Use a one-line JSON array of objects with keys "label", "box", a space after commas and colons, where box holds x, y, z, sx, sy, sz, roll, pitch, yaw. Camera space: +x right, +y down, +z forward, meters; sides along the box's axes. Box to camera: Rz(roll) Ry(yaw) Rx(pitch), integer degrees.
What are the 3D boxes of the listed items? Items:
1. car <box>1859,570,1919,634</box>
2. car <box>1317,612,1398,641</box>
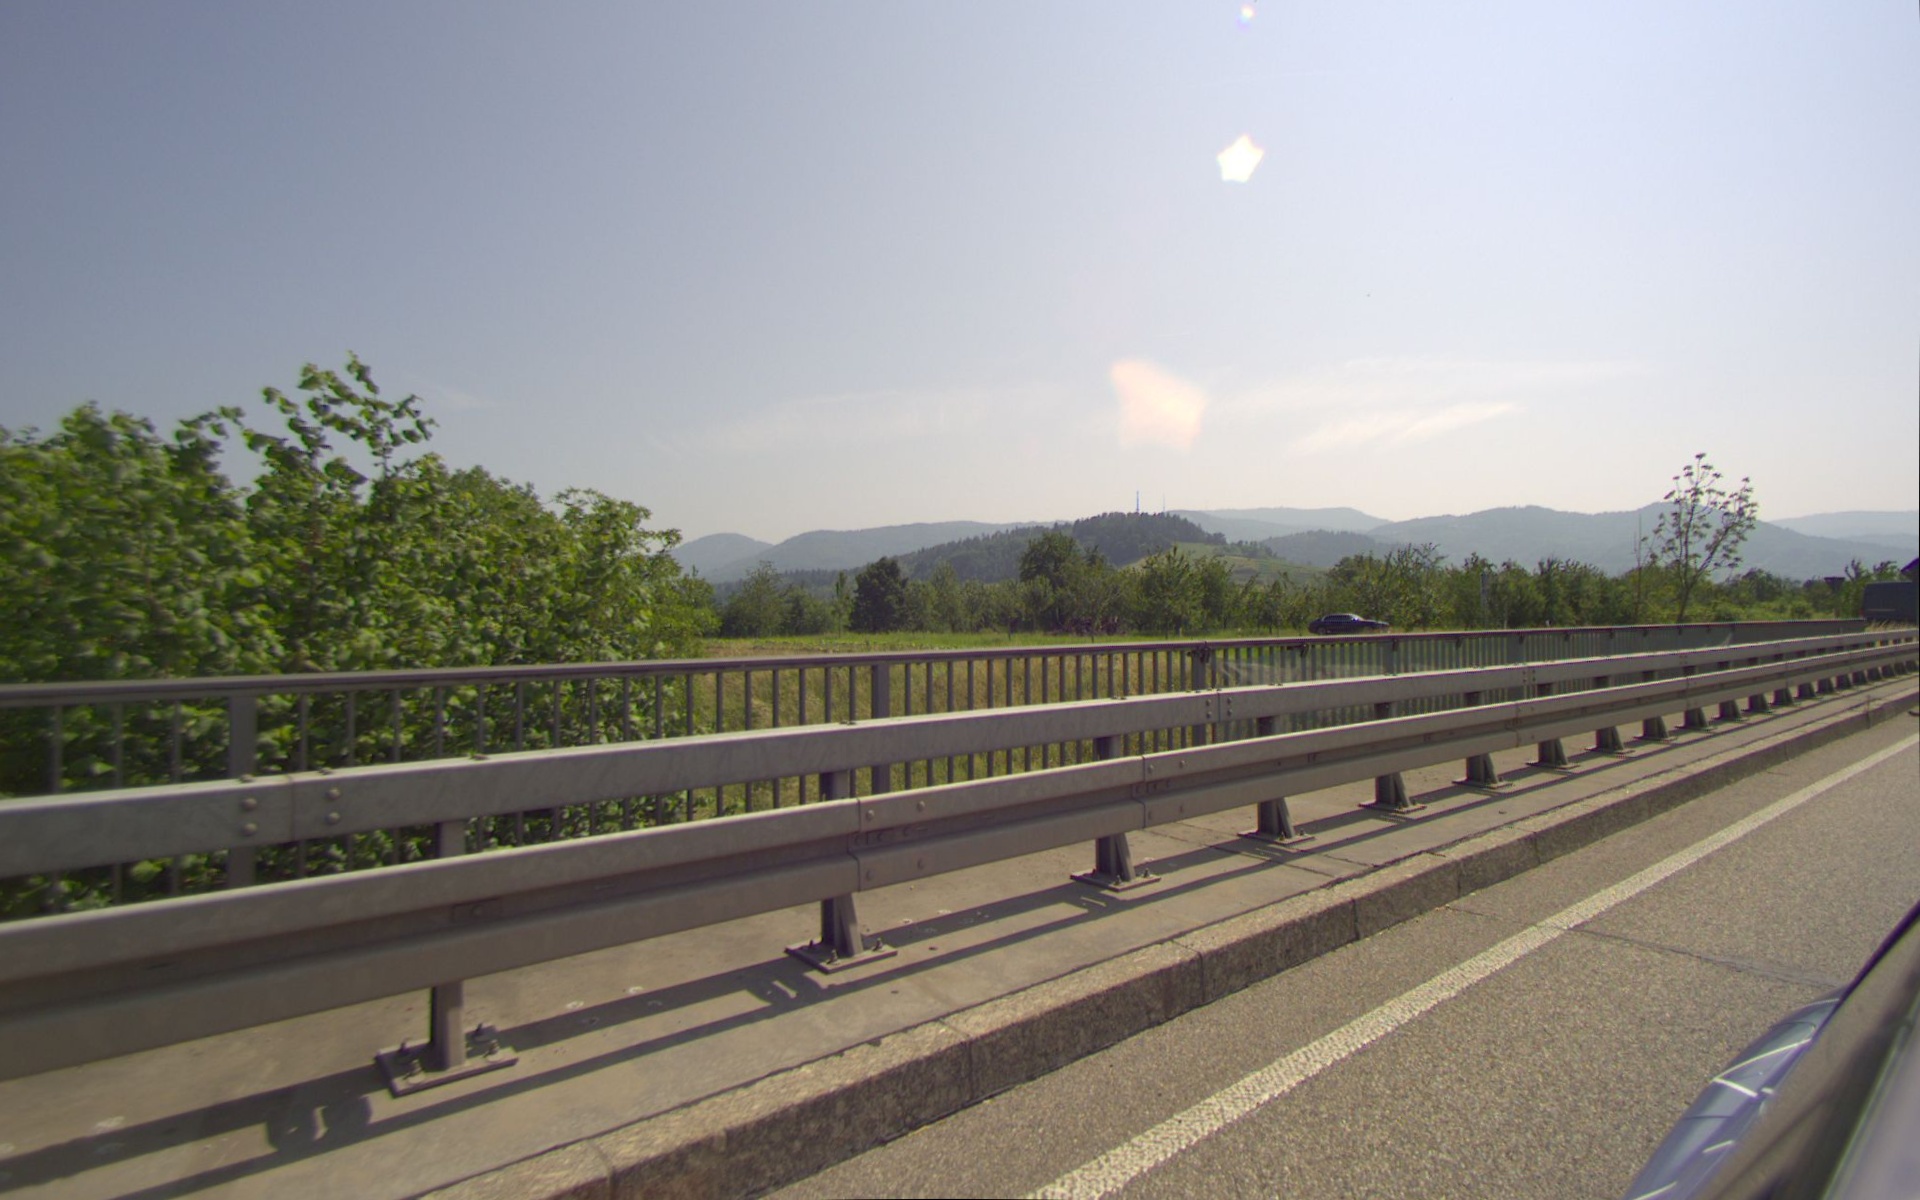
[{"label": "car", "box": [40.227, 0.083, 40.965, 2.023, 2.608, 6.311, 0, -1, 0]}, {"label": "car", "box": [26.633, 1.759, 67.853, 4.656, 1.717, 1.971, 0, 2, 42]}]
